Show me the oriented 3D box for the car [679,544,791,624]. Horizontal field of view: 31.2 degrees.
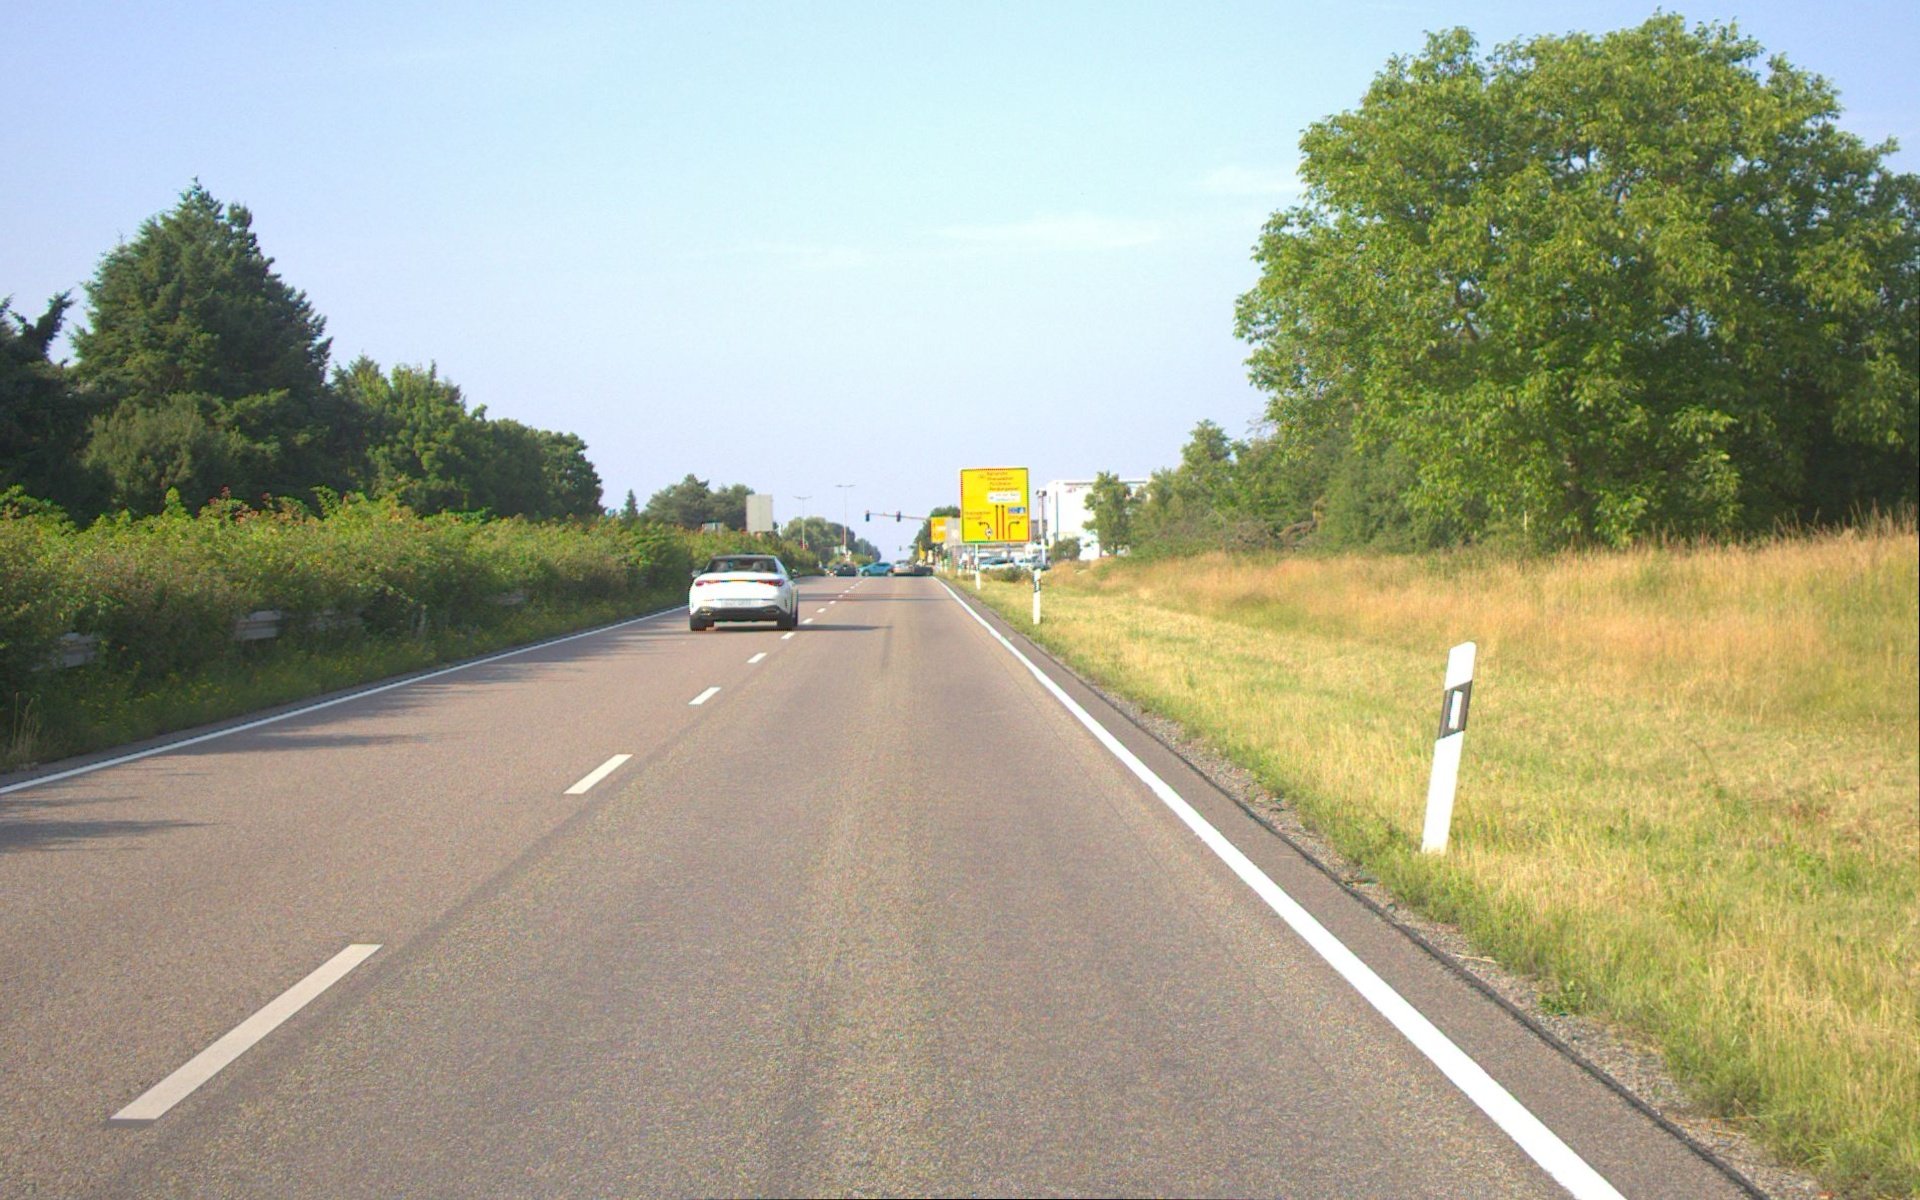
[{"bbox_3d":[-4.109,-0.312,63.300,1.909,1.417,4.000,0,1,-1],"label":"car"}]
